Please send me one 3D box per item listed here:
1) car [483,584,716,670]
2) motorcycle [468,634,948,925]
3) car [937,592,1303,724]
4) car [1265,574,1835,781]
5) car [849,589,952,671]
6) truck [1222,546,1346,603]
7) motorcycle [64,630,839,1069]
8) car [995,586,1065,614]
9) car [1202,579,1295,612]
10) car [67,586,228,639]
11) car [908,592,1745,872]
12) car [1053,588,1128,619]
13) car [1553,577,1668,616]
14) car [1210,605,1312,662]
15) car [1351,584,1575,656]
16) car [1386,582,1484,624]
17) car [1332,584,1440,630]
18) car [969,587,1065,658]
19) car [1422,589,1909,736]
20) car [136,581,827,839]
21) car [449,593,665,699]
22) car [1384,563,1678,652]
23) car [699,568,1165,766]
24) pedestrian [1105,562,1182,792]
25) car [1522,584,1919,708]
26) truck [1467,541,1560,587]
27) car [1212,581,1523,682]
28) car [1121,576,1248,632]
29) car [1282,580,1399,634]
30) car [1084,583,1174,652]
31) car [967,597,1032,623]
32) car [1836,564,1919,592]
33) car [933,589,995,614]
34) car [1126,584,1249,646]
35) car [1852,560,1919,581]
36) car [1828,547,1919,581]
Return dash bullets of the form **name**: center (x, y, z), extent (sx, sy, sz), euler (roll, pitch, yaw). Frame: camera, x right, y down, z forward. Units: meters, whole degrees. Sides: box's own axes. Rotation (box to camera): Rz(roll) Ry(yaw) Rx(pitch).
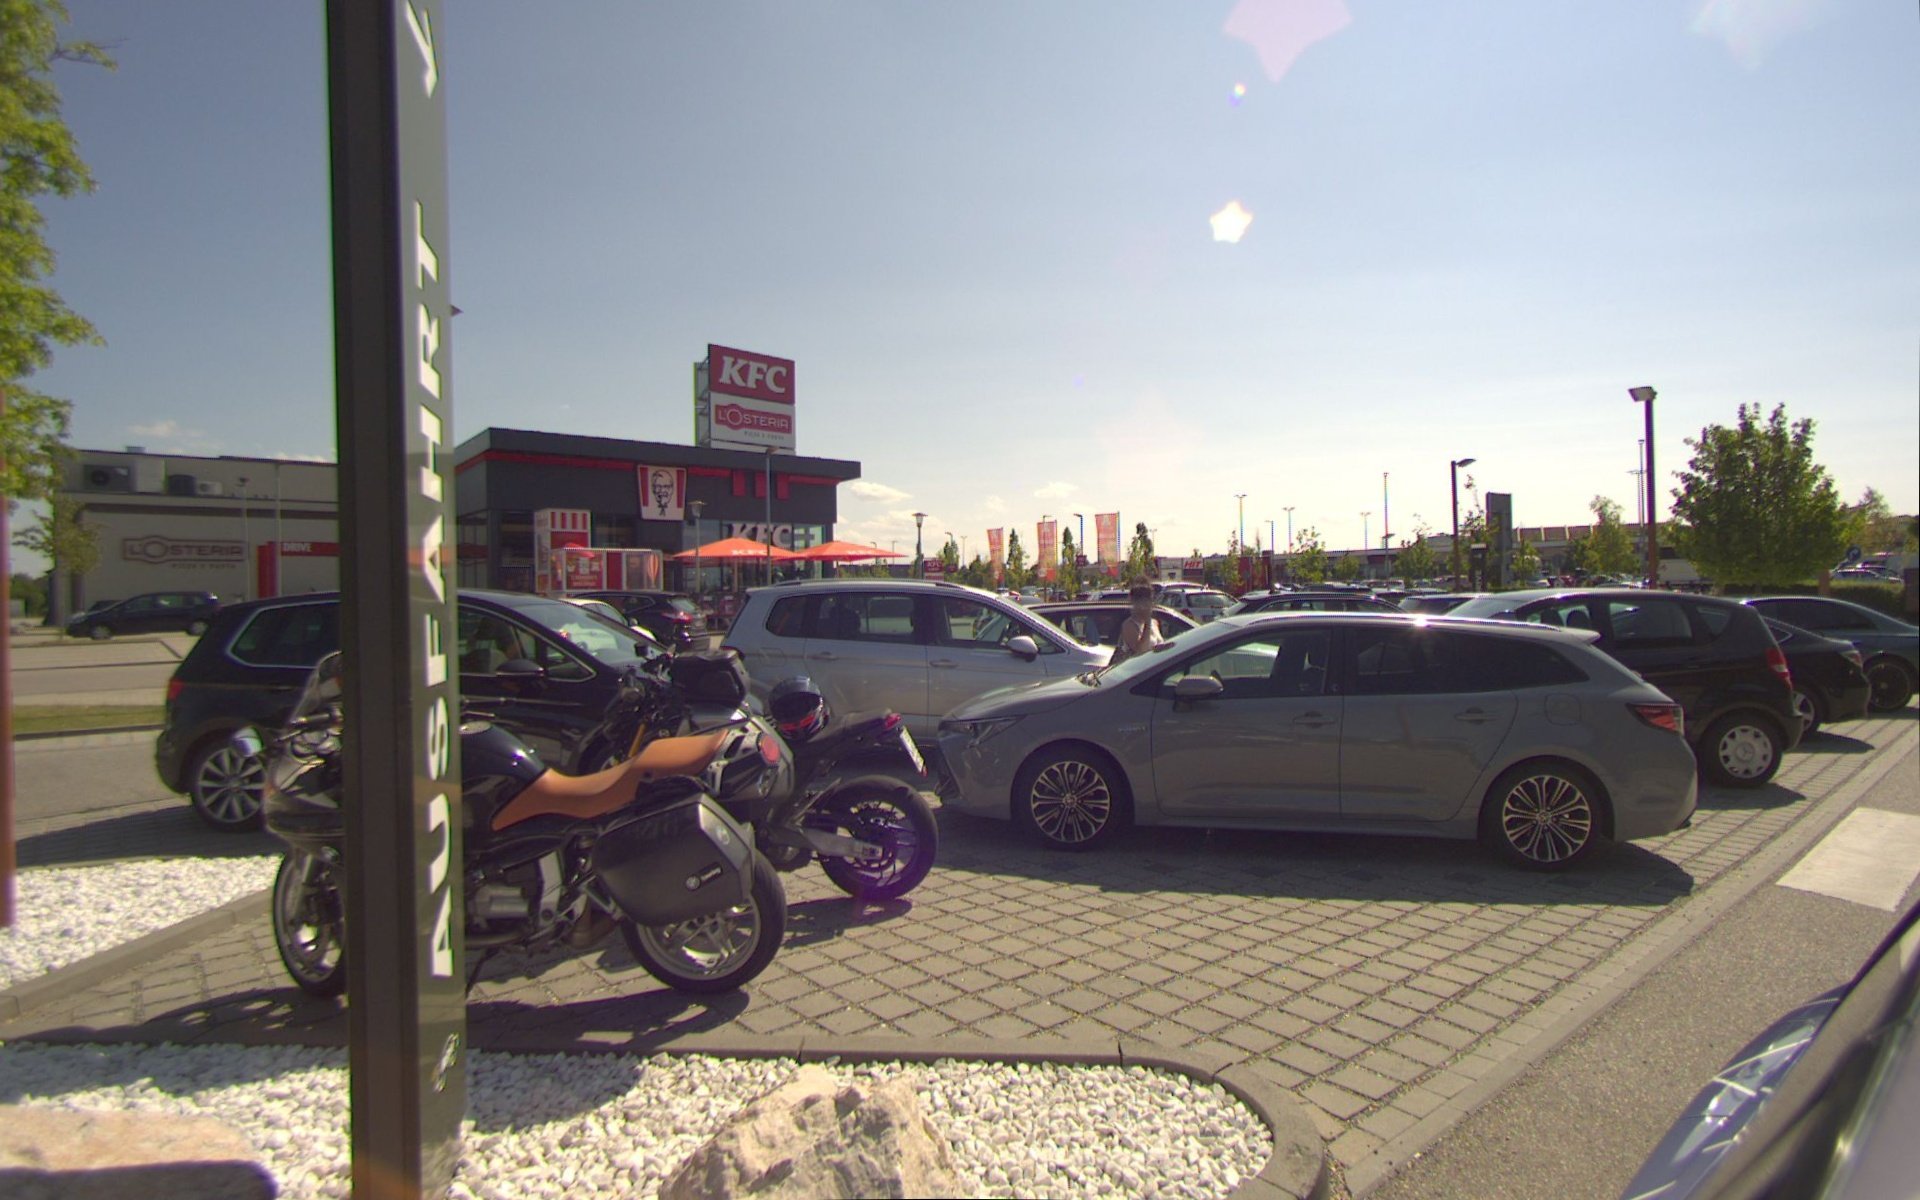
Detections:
- **car**: center (-7.093, 0.516, 20.136), extent (4.015, 1.596, 1.755), euler (-1, 0, 6)
- **motorcycle**: center (-1.125, 0.803, 4.893), extent (2.099, 1.247, 0.821), euler (0, 0, -3)
- **car**: center (1.785, 0.633, 12.069), extent (4.008, 1.426, 1.792), euler (0, 0, 4)
- **car**: center (4.927, 0.624, 8.978), extent (3.929, 1.613, 1.809), euler (-1, 0, 5)
- **car**: center (-1.141, 0.530, 20.852), extent (1.877, 1.490, 4.473), euler (-1, 1, -1)
- **truck**: center (23.861, -1.819, 75.133), extent (3.146, 3.915, 9.141), euler (-1, 1, -29)
- **motorcycle**: center (-1.613, 0.764, 3.606), extent (2.210, 1.267, 1.070), euler (1, -1, 1)
- **car**: center (3.969, -0.024, 57.071), extent (3.683, 1.472, 1.688), euler (-1, 1, -33)
- **car**: center (13.247, -0.234, 46.376), extent (4.075, 1.415, 1.889), euler (-1, 1, -33)
- **car**: center (-28.551, 0.387, 35.639), extent (4.312, 1.706, 1.637), euler (-1, 1, -44)
- **car**: center (2.063, 0.708, 6.659), extent (4.582, 1.465, 1.832), euler (1, 0, 6)
- **car**: center (6.778, 0.162, 52.447), extent (3.683, 1.472, 1.688), euler (-1, 1, -33)
- **car**: center (36.218, -0.224, 56.441), extent (1.964, 2.039, 5.018), euler (-2, 1, -38)
- **car**: center (8.659, 0.921, 29.477), extent (1.681, 1.428, 4.680), euler (-1, 1, 2)
- **car**: center (10.491, 0.404, 21.353), extent (3.836, 1.444, 1.703), euler (0, 0, 7)
- **car**: center (17.288, 0.096, 37.035), extent (1.878, 1.440, 3.773), euler (-1, 0, 2)
- **car**: center (14.352, 0.215, 34.362), extent (1.762, 1.440, 4.089), euler (-1, 1, -3)
- **car**: center (1.180, 0.427, 22.616), extent (1.786, 1.420, 4.001), euler (-1, 1, -1)
- **car**: center (7.552, 0.642, 11.214), extent (4.004, 1.467, 1.826), euler (-1, 0, 6)
- **car**: center (-3.185, 0.653, 7.254), extent (4.117, 1.556, 1.893), euler (0, 0, 6)
- **car**: center (-6.263, 0.636, 16.283), extent (1.809, 1.443, 4.186), euler (-1, 1, 0)
- **car**: center (10.584, 0.125, 19.065), extent (4.339, 1.530, 1.981), euler (-1, 0, 5)
- **car**: center (-0.217, 0.558, 9.519), extent (3.995, 1.660, 1.746), euler (0, 0, 5)
- **pedestrian**: center (1.457, 0.582, 8.017), extent (0.555, 1.734, 0.608), euler (-1, 0, 12)
- **car**: center (10.428, 0.583, 13.734), extent (4.462, 1.530, 1.885), euler (-1, 0, 5)
- **truck**: center (43.445, -2.770, 79.719), extent (2.373, 3.393, 7.577), euler (-1, 1, -8)
- **car**: center (6.572, 0.486, 16.781), extent (4.339, 1.530, 1.981), euler (-1, 0, 5)
- **car**: center (7.761, 0.106, 34.788), extent (4.290, 1.772, 2.070), euler (-1, 1, -40)
- **car**: center (11.861, 0.182, 31.842), extent (1.770, 1.576, 4.060), euler (-1, 1, -6)
- **car**: center (3.989, 0.364, 24.484), extent (1.788, 1.508, 3.995), euler (-1, 1, 5)
- **car**: center (2.393, 0.559, 61.137), extent (3.683, 1.472, 1.688), euler (-1, 1, -33)
- **car**: center (60.463, -1.413, 66.684), extent (1.864, 1.749, 3.989), euler (-1, 1, -44)
- **car**: center (0.240, 0.101, 65.190), extent (3.683, 1.530, 1.688), euler (-1, 0, -33)
- **car**: center (6.078, 0.360, 27.612), extent (1.742, 1.530, 4.359), euler (-1, 1, -9)
- **car**: center (64.246, -2.058, 69.791), extent (1.636, 1.359, 3.901), euler (-1, 1, -41)
- **car**: center (66.259, -2.530, 72.038), extent (2.261, 2.272, 6.561), euler (-1, 1, -41)
